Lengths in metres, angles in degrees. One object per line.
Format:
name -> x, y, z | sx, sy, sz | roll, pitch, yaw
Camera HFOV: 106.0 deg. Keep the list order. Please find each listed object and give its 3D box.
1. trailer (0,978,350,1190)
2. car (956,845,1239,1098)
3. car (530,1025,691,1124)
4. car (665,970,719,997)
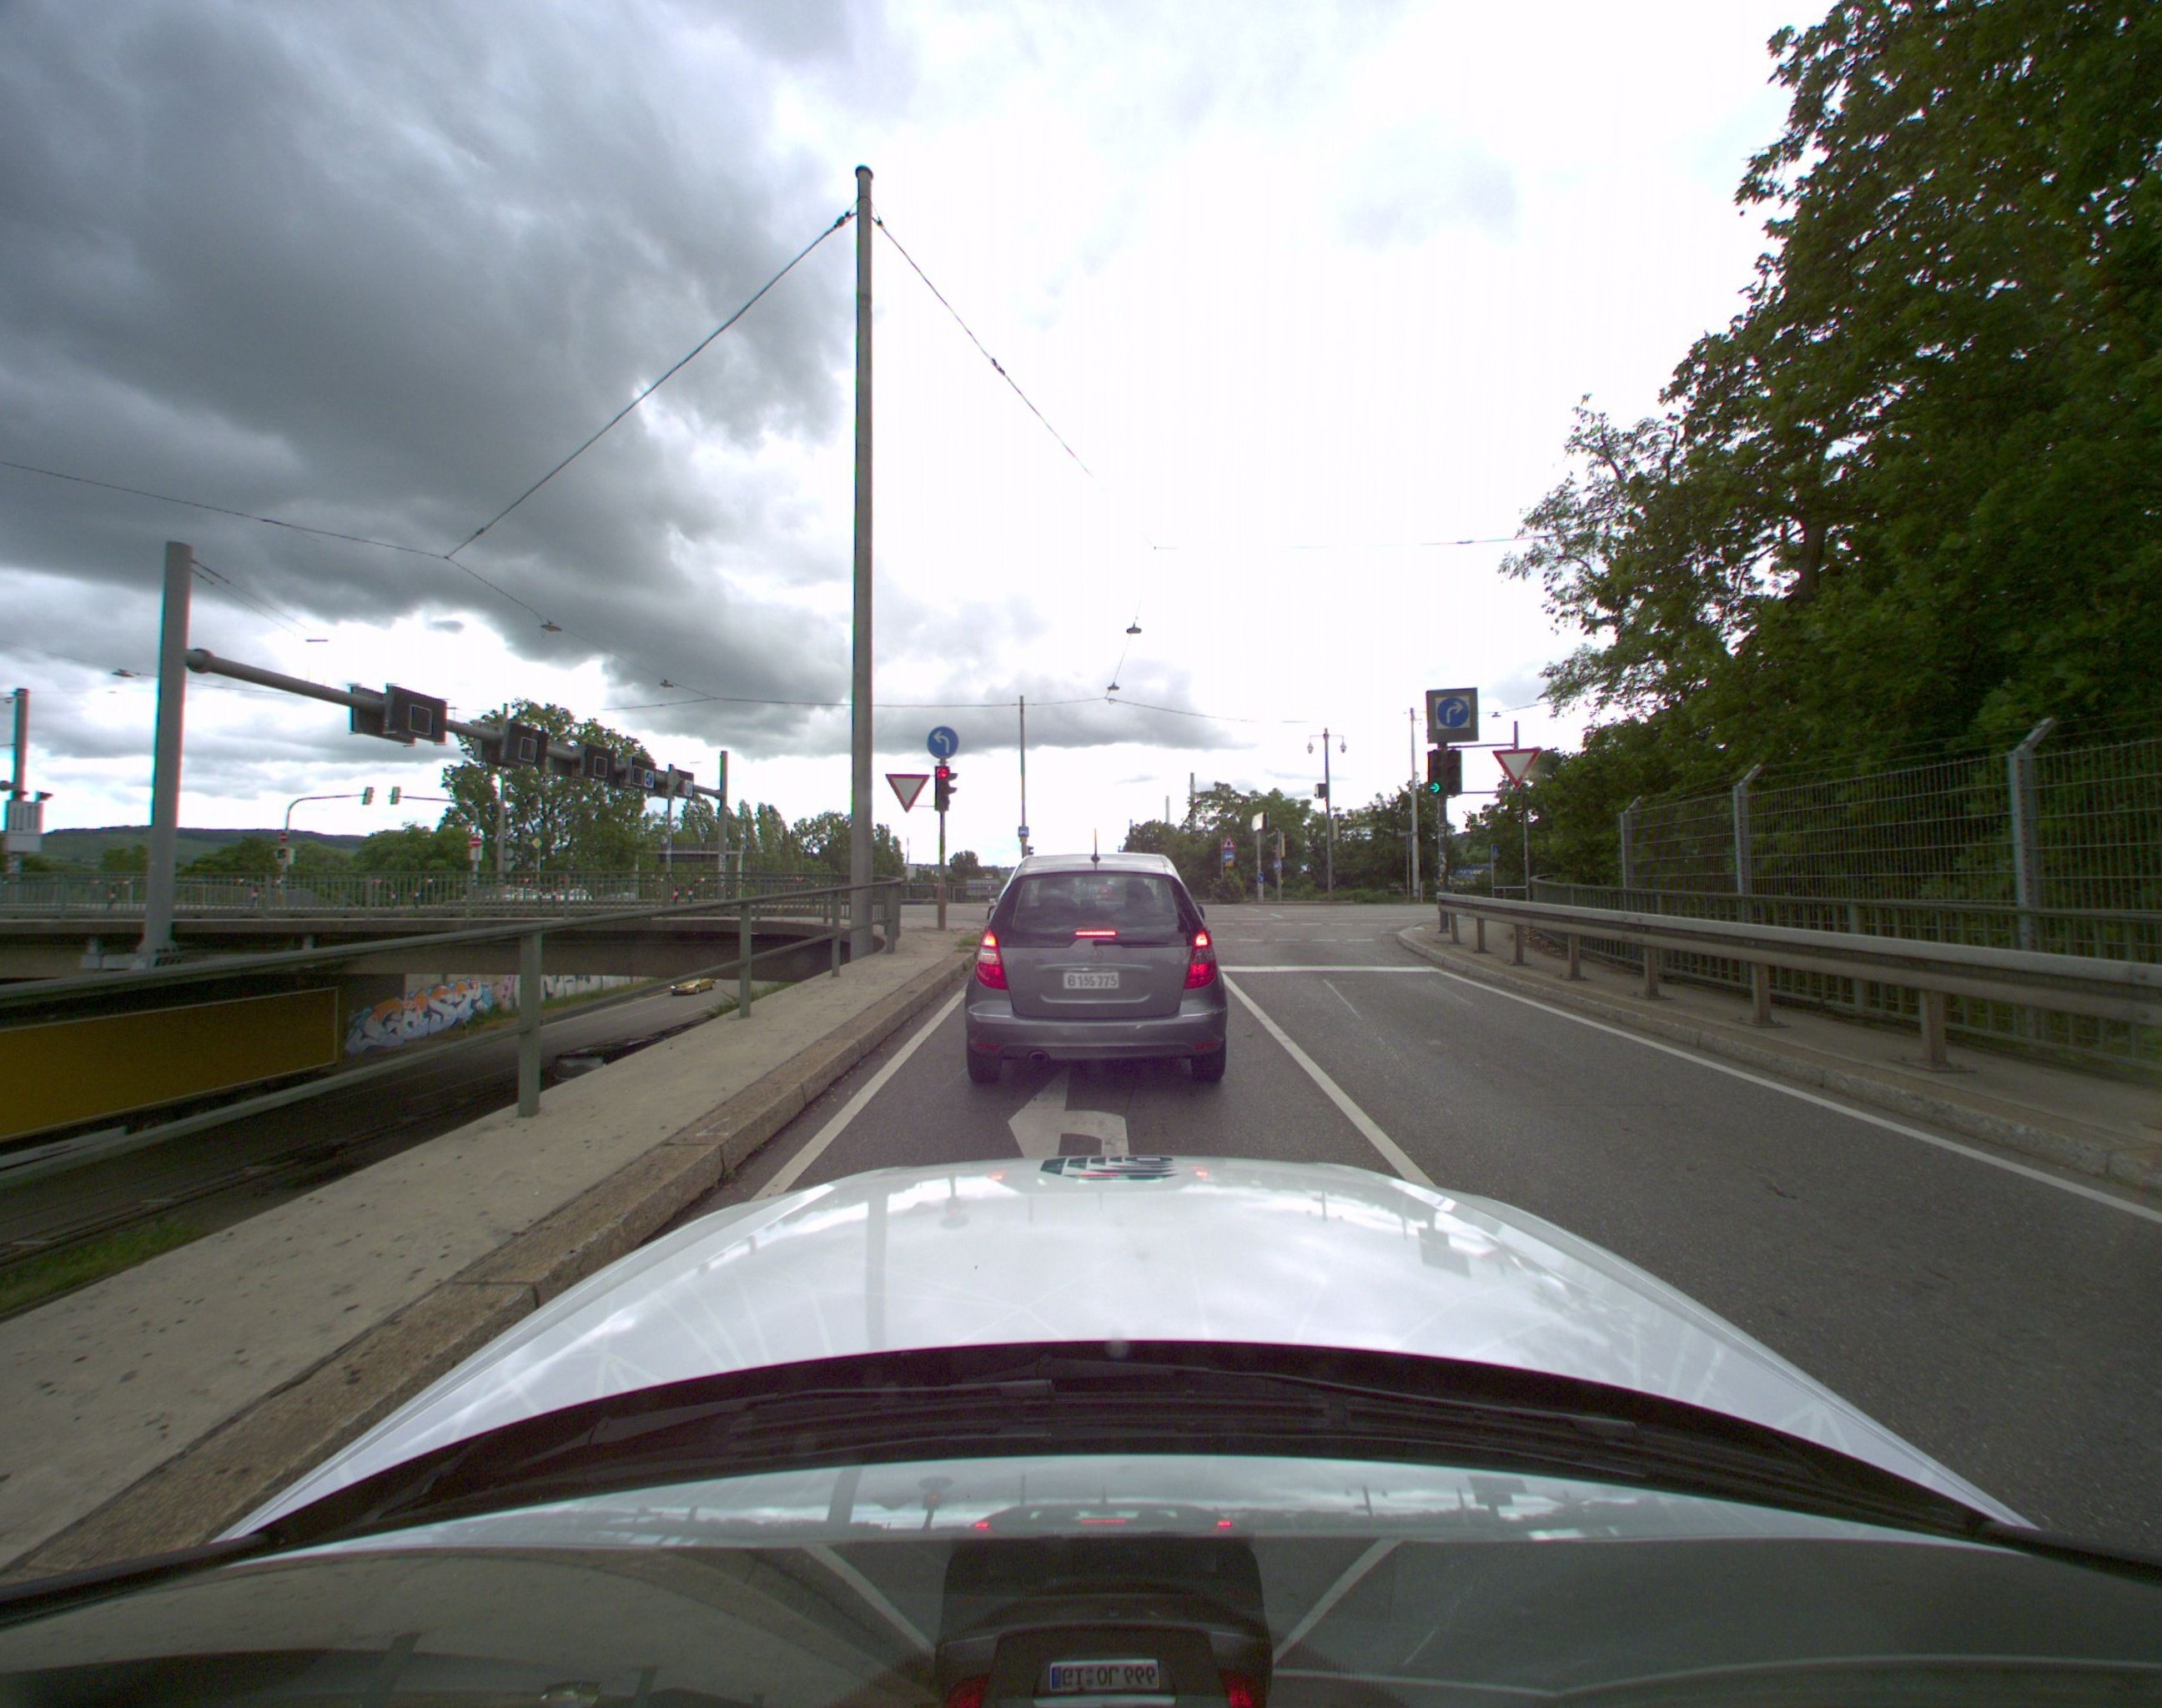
trailer -> -28.410, 6.375, 22.780 | 3.229, 4.263, 13.681 | -2, -3, 1
car -> 0.161, 0.738, 6.790 | 1.733, 1.543, 3.542 | 0, -1, 2
car -> -15.146, 7.066, 26.681 | 1.985, 2.014, 5.257 | -1, -3, 3
car -> -28.215, 9.392, 59.198 | 1.861, 1.457, 4.154 | -2, -3, 2
